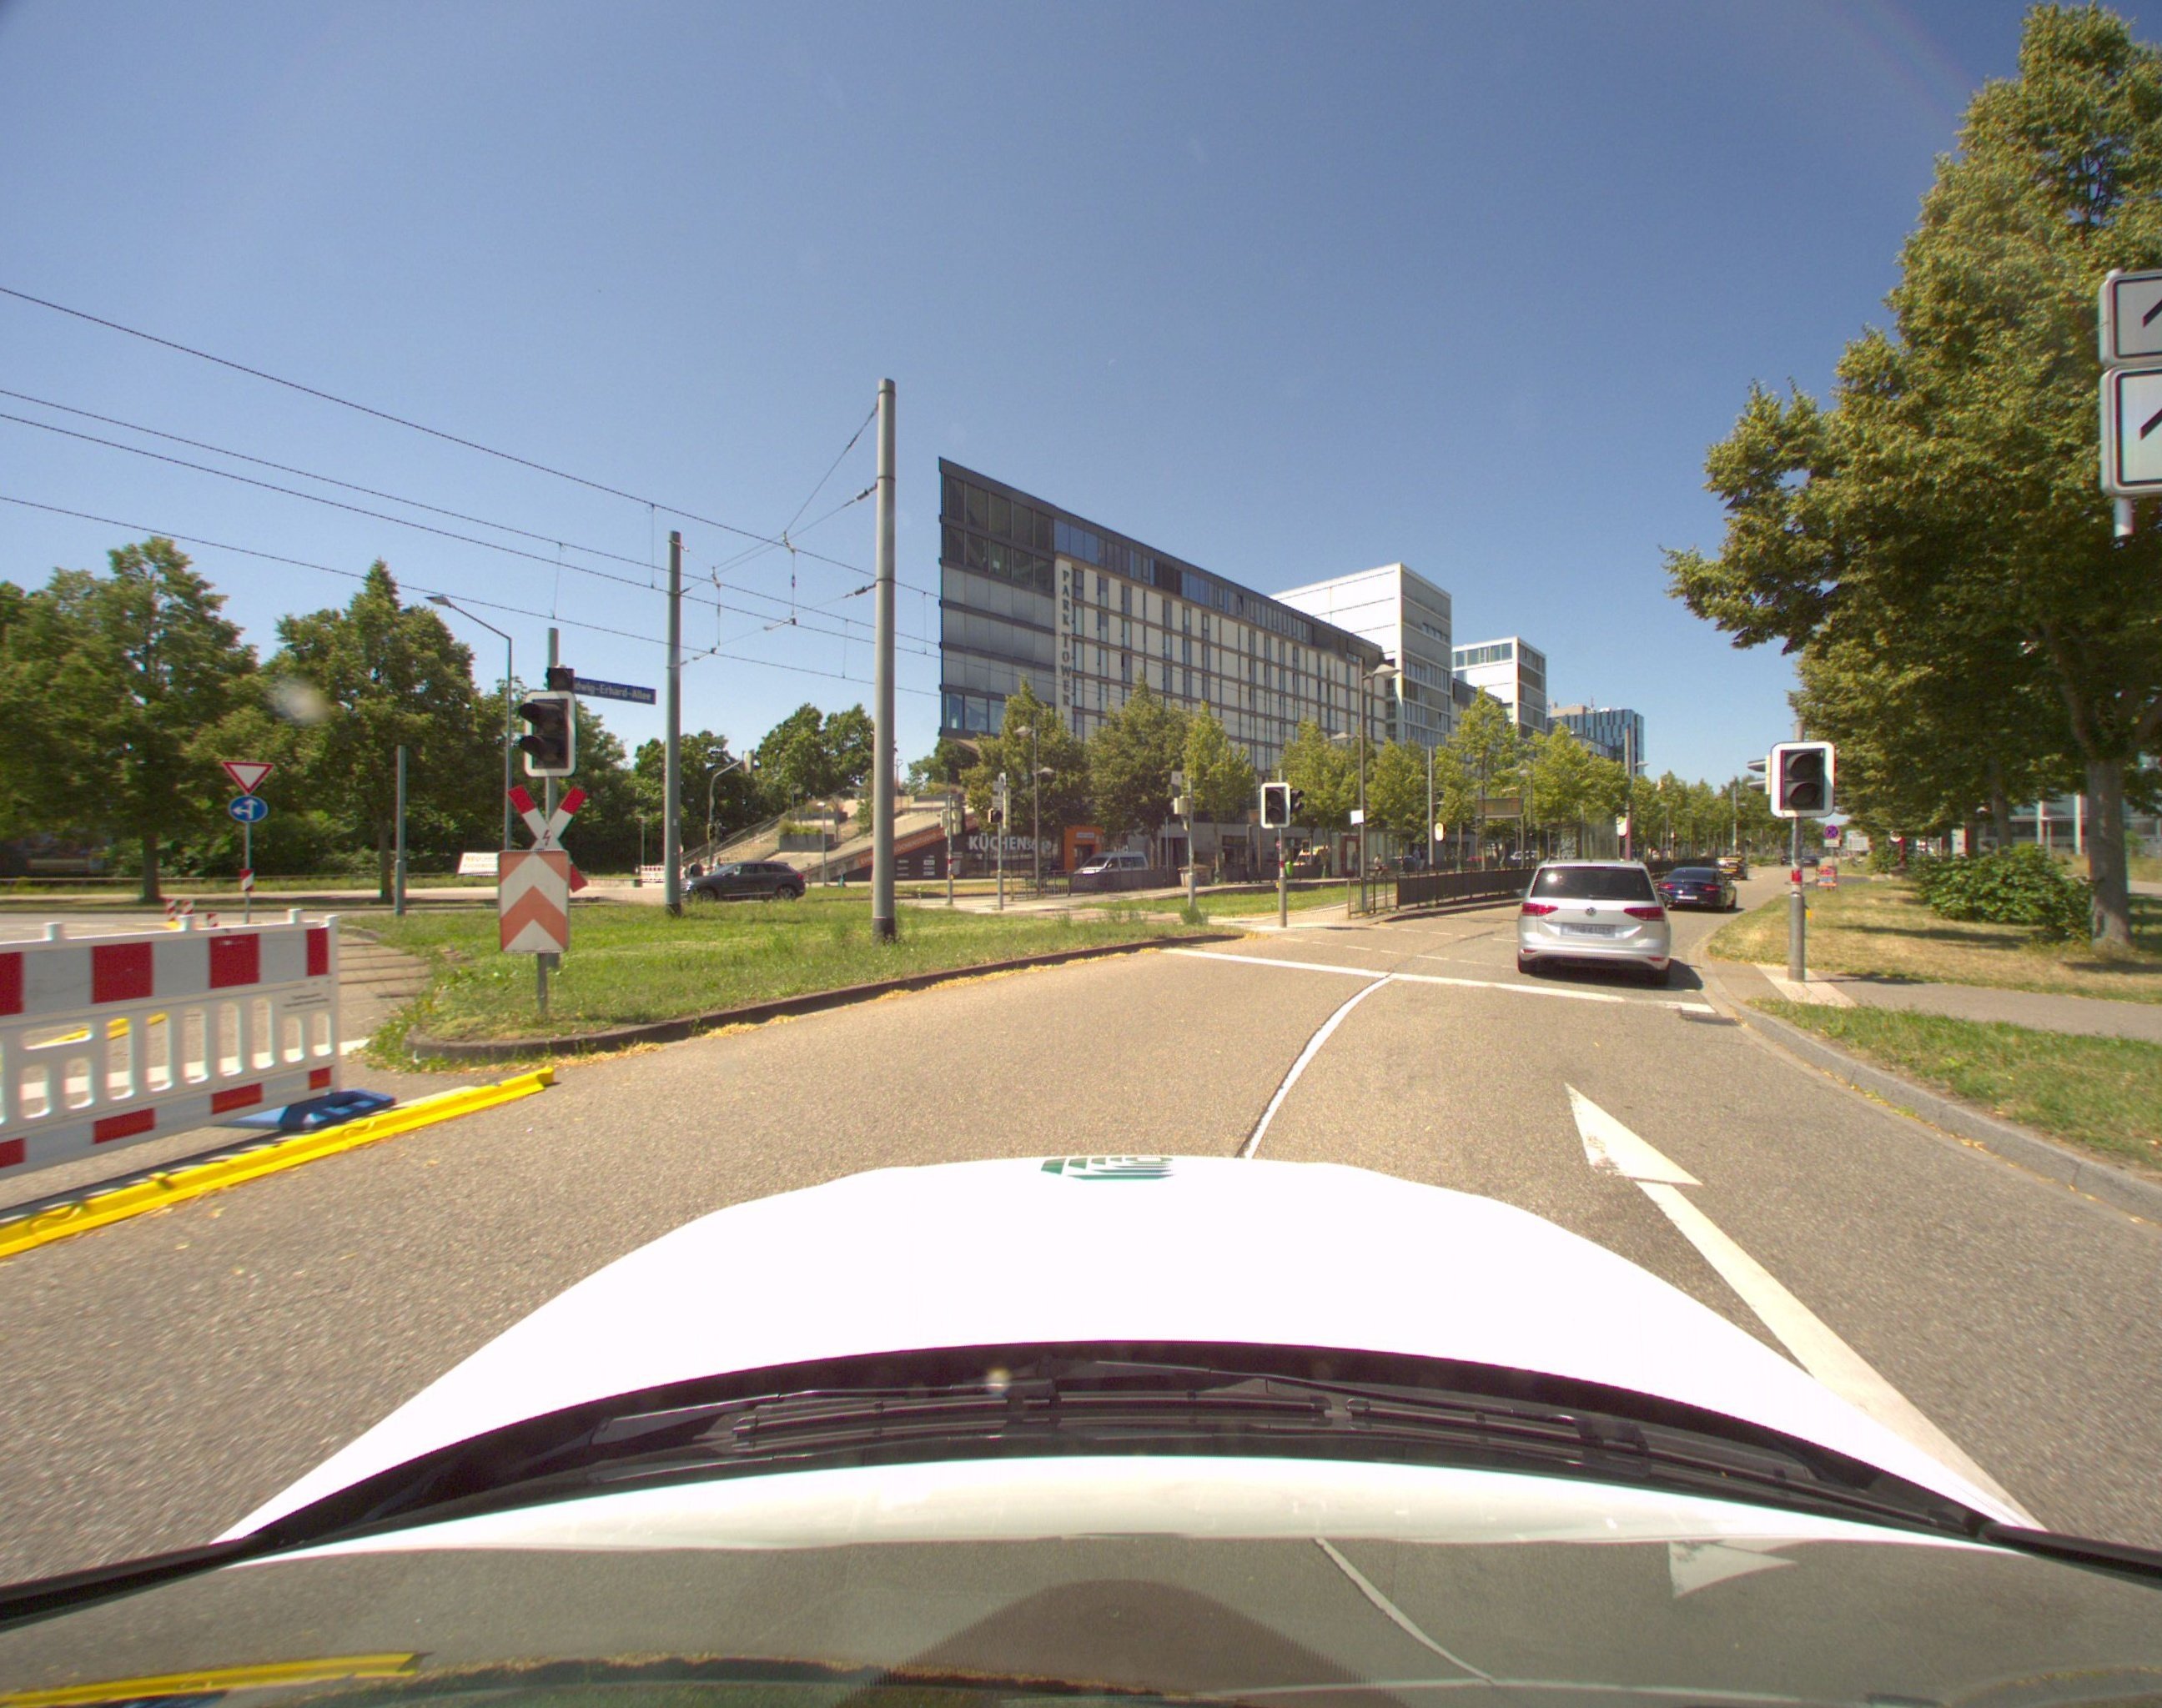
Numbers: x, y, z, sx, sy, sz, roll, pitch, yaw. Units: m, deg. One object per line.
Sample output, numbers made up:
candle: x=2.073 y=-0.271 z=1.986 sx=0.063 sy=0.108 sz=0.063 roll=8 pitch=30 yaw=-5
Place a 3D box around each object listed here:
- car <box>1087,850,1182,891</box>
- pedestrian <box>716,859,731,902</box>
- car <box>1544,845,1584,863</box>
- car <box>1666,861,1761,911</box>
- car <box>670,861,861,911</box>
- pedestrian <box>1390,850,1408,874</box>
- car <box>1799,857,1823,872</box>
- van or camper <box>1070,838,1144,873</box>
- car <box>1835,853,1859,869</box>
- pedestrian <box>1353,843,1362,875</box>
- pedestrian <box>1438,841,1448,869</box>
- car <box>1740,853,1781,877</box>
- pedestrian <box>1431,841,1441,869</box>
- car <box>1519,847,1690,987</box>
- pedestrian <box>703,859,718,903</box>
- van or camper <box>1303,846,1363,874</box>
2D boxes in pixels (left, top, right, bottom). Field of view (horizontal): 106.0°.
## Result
car: x=3.008 y=0.871 z=44.732 sx=5.574 sy=2.106 sz=1.975 roll=0 pitch=0 yaw=-44
pedestrian: x=-14.435 y=1.063 z=32.878 sx=0.287 sy=1.739 sz=0.452 roll=-1 pitch=-1 yaw=44
car: x=51.242 y=-0.034 z=86.290 sx=5.100 sy=1.806 sz=2.440 roll=0 pitch=0 yaw=-45
car: x=20.583 y=0.956 z=26.410 sx=1.835 sy=1.436 sz=4.984 roll=0 pitch=0 yaw=45
car: x=-10.795 y=1.020 z=28.207 sx=5.867 sy=1.517 sz=1.976 roll=0 pitch=0 yaw=-41
pedestrian: x=19.003 y=0.499 z=48.641 sx=0.826 sy=1.413 sz=0.646 roll=-1 pitch=-1 yaw=45
car: x=77.906 y=1.099 z=86.913 sx=1.749 sy=1.627 sz=3.738 roll=0 pitch=0 yaw=44
van or camper: x=2.284 y=0.157 z=69.211 sx=2.353 sy=2.822 sz=6.828 roll=0 pitch=0 yaw=42
car: x=79.645 y=0.743 z=84.636 sx=1.749 sy=1.627 sz=3.738 roll=0 pitch=0 yaw=44
pedestrian: x=15.260 y=0.262 z=44.995 sx=0.462 sy=1.739 sz=0.480 roll=0 pitch=0 yaw=16
pedestrian: x=23.214 y=0.058 z=52.258 sx=0.405 sy=1.752 sz=0.589 roll=-1 pitch=0 yaw=42
car: x=43.756 y=0.706 z=52.417 sx=4.009 sy=1.451 sz=1.604 roll=1 pitch=-1 yaw=-44
pedestrian: x=22.595 y=0.049 z=51.781 sx=0.405 sy=1.752 sz=0.589 roll=-1 pitch=0 yaw=42
car: x=7.739 y=0.762 z=12.123 sx=1.783 sy=1.649 sz=4.633 roll=1 pitch=0 yaw=33
pedestrian: x=-14.759 y=1.055 z=32.453 sx=0.287 sy=1.739 sz=0.452 roll=-1 pitch=-1 yaw=44
van or camper: x=22.440 y=0.487 z=72.336 sx=2.157 sy=2.386 sz=6.811 roll=0 pitch=0 yaw=45
